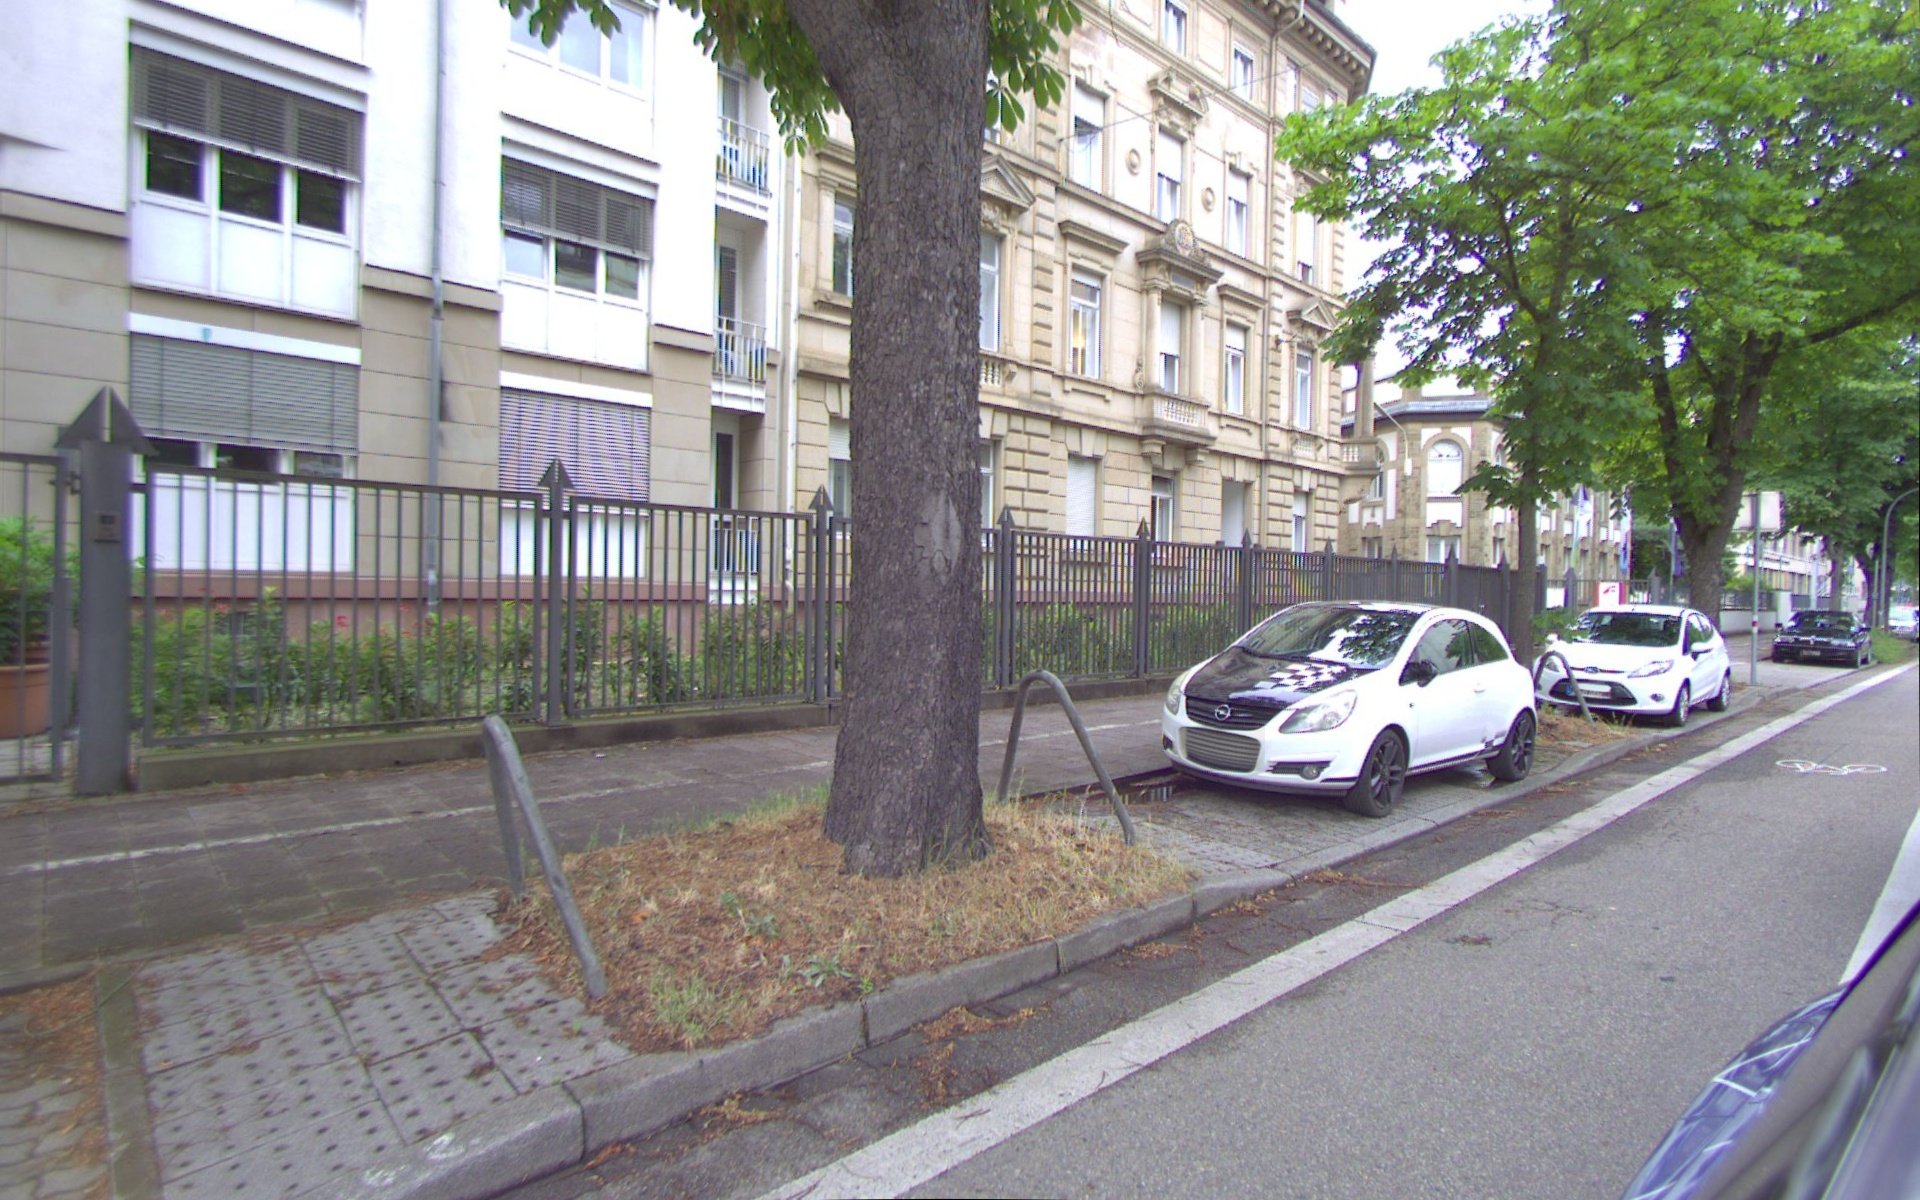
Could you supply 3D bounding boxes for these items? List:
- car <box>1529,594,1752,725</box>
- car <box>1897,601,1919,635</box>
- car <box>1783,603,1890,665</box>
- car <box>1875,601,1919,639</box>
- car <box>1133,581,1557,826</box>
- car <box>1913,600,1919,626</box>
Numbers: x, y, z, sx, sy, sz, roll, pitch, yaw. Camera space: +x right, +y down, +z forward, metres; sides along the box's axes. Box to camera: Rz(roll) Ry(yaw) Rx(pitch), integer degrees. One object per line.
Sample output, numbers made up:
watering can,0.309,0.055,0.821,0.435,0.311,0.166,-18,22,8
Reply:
car,9.278,0.697,13.695,3.700,1.453,1.630,0,3,-43
car,44.009,0.830,46.100,3.771,1.442,1.605,0,3,-43
car,22.621,0.808,26.082,3.771,1.387,1.605,0,3,-43
car,38.655,0.804,41.261,3.771,1.387,1.605,0,3,-43
car,3.218,0.635,8.124,3.711,1.453,1.605,0,3,-42
car,52.778,0.723,54.624,3.771,1.387,1.605,0,3,-43
